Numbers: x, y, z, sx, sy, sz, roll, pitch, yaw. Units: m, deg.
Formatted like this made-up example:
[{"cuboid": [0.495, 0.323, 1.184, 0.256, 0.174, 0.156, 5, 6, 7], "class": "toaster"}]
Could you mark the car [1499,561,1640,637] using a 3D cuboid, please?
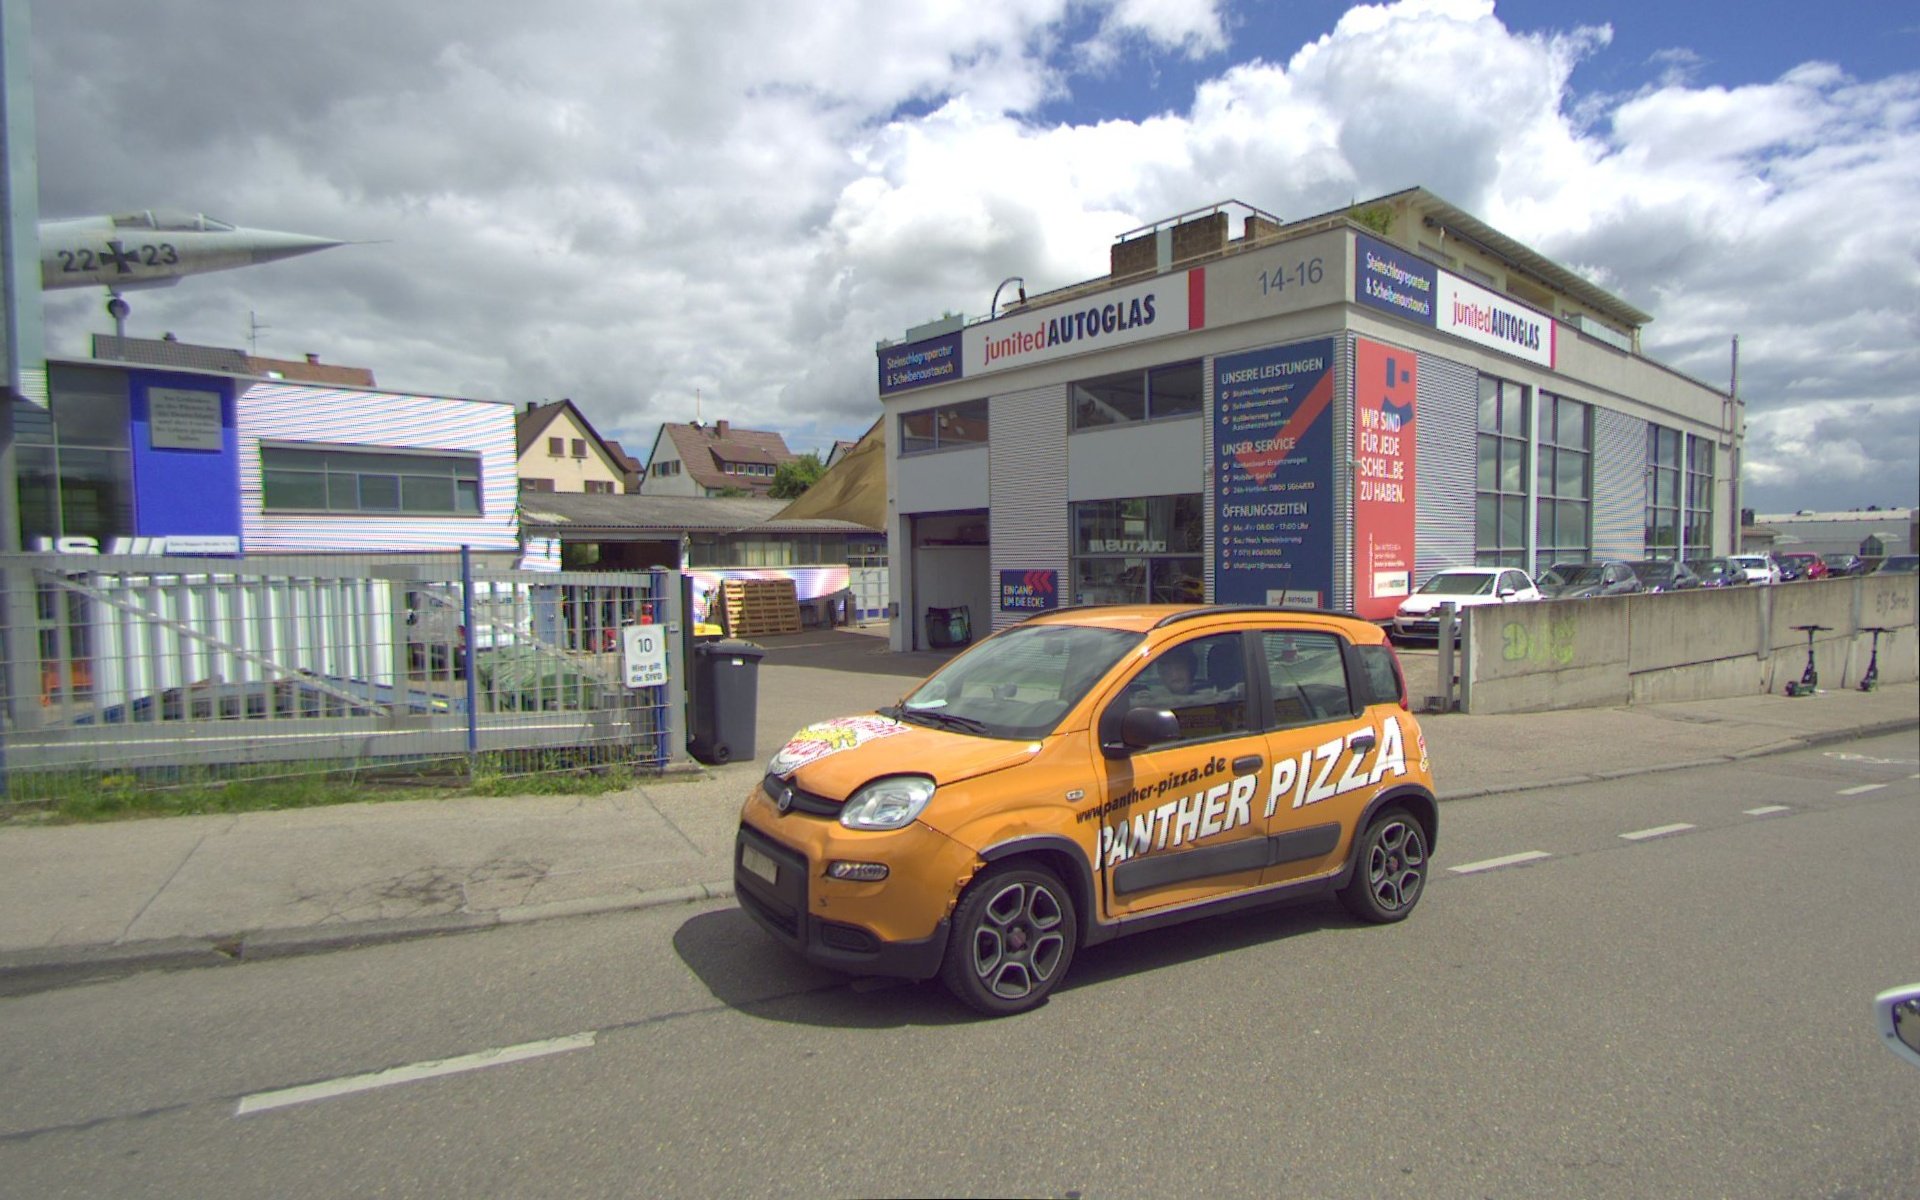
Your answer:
[{"cuboid": [14.564, 0.010, 23.913, 4.083, 1.658, 1.789, 2, 0, -43], "class": "car"}]

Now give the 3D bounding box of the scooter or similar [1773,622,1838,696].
[{"cuboid": [15.556, 1.072, 18.467, 1.292, 1.293, 0.554, 2, 0, -34], "class": "scooter or similar"}]

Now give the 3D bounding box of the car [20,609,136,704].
[{"cuboid": [-21.148, 1.252, 24.031, 1.845, 1.801, 4.562, -4, 4, -43], "class": "car"}]

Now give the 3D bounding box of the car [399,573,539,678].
[{"cuboid": [-13.882, 0.613, 28.297, 4.556, 2.636, 1.980, 2, 4, 43], "class": "car"}]

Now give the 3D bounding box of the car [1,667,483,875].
[{"cuboid": [-6.196, 1.412, 9.124, 3.319, 1.479, 1.425, 2, 0, -27], "class": "car"}]

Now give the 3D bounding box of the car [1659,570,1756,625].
[{"cuboid": [24.435, -0.070, 32.791, 4.083, 1.658, 1.789, 2, 0, -43], "class": "car"}]

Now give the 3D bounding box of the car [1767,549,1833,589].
[{"cuboid": [38.707, -1.394, 46.238, 4.083, 1.658, 1.789, 2, 0, -43], "class": "car"}]

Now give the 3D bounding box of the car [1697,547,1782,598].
[{"cuboid": [28.805, -0.985, 37.065, 4.083, 1.658, 1.789, 2, 0, -43], "class": "car"}]

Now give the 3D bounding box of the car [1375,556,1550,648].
[{"cuboid": [10.196, 0.065, 20.249, 4.083, 1.658, 1.789, 2, 0, -43], "class": "car"}]

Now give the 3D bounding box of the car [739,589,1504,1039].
[{"cuboid": [0.923, 0.758, 5.035, 3.641, 1.510, 1.592, 2, 0, -32], "class": "car"}]

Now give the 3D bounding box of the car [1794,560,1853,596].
[{"cuboid": [44.052, -1.095, 51.226, 4.083, 1.658, 1.789, 2, 0, -43], "class": "car"}]

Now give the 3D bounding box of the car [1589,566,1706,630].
[{"cuboid": [19.356, -0.036, 28.219, 4.083, 1.658, 1.789, 2, 0, -43], "class": "car"}]

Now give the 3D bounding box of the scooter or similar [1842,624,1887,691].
[{"cuboid": [18.605, 1.169, 20.655, 1.374, 1.293, 0.514, 1, 2, -44], "class": "scooter or similar"}]

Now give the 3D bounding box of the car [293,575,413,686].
[{"cuboid": [-16.577, 0.704, 27.327, 1.976, 2.636, 4.675, -4, 4, -40], "class": "car"}]

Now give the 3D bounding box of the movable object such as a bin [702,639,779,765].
[{"cuboid": [-2.002, 0.908, 9.146, 0.511, 1.094, 0.659, 1, -3, -31], "class": "movable object such as a bin"}]

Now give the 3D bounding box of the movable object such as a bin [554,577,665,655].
[{"cuboid": [-11.475, 0.451, 32.997, 3.122, 2.382, 1.416, -3, 3, -43], "class": "movable object such as a bin"}]

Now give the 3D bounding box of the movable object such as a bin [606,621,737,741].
[{"cuboid": [-3.434, 0.934, 11.929, 1.218, 1.323, 1.214, 1, -3, -32], "class": "movable object such as a bin"}]

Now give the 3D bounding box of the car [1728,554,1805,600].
[{"cuboid": [32.466, -0.905, 40.394, 4.083, 1.658, 1.789, 2, 0, -43], "class": "car"}]

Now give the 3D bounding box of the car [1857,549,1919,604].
[{"cuboid": [31.214, -0.747, 33.233, 4.072, 1.658, 1.790, 2, 0, -41], "class": "car"}]
